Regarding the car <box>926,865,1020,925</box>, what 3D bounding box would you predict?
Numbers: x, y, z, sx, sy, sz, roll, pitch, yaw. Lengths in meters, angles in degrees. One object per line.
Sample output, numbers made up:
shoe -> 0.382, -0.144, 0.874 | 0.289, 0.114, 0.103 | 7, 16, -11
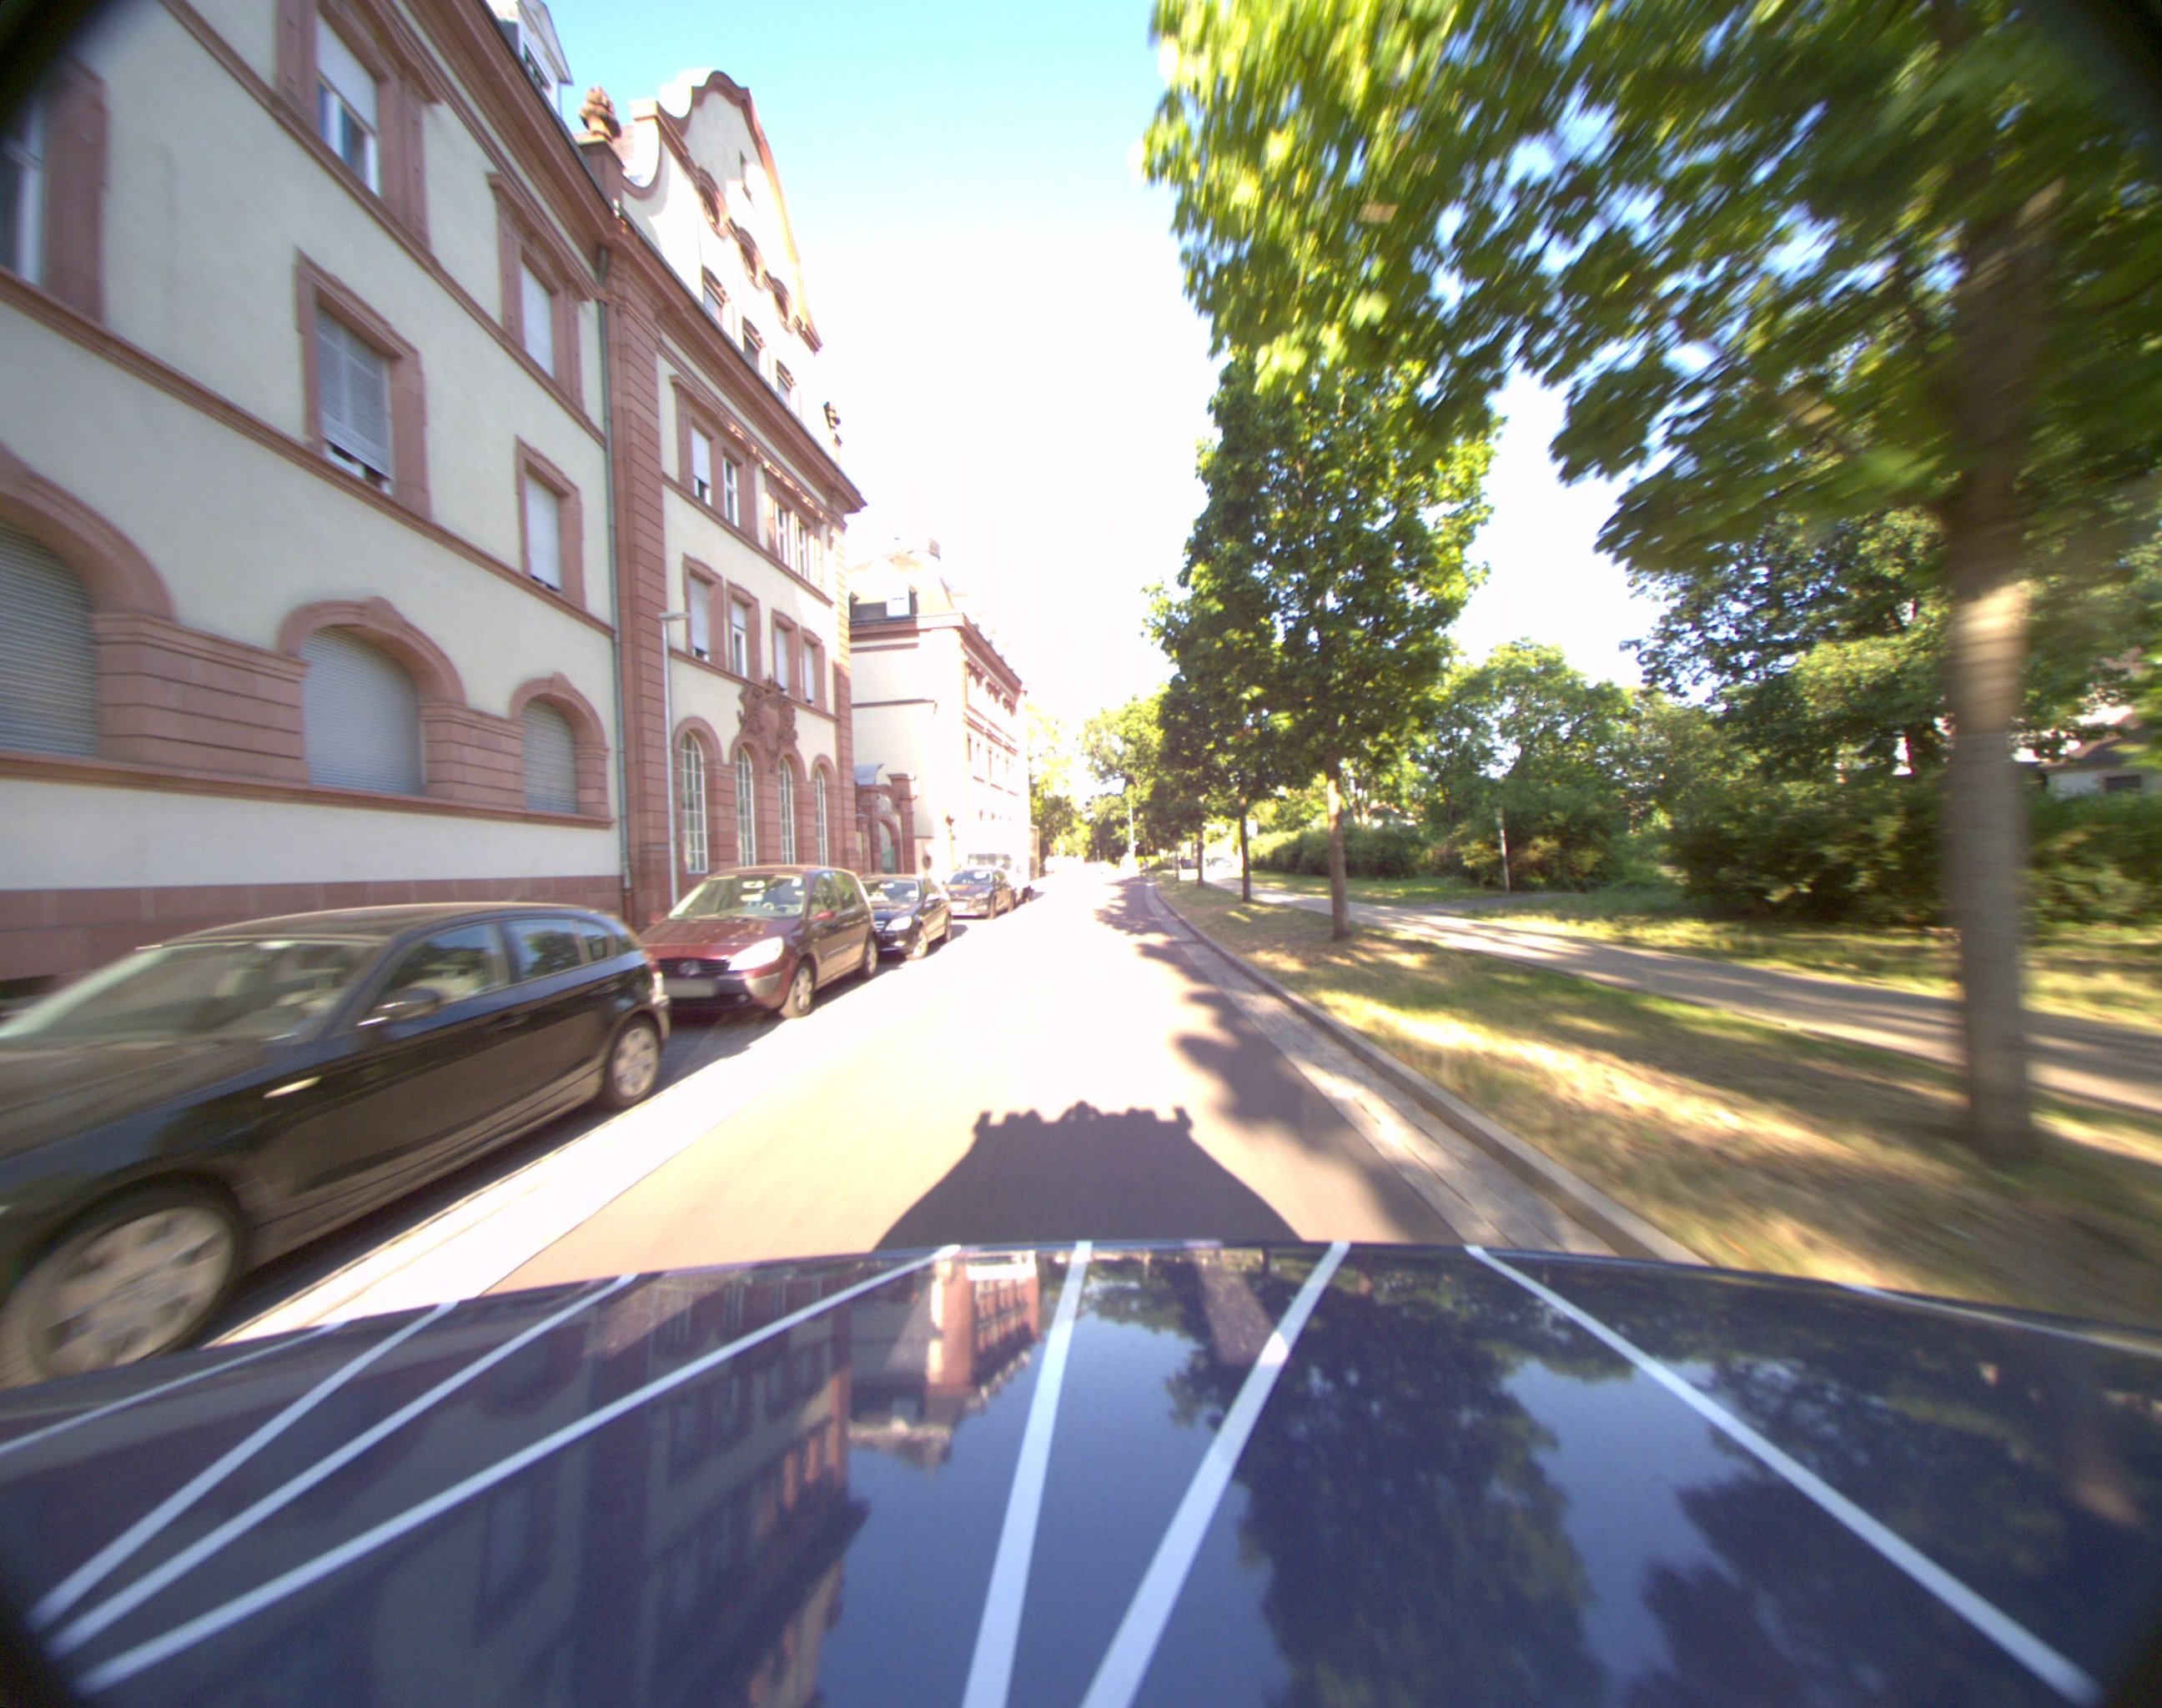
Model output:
car -> -3.163, 1.167, 23.195 | 1.772, 1.521, 4.574 | -2, 0, 5

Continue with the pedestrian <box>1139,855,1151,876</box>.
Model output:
pedestrian -> 5.249, 0.954, 62.360 | 0.534, 1.708, 1.002 | -3, 0, -12

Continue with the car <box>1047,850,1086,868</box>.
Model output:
car -> -2.345, 0.822, 124.826 | 5.913, 2.684, 2.218 | -2, 0, -14

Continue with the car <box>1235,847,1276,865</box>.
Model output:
car -> 20.505, 0.277, 89.247 | 4.239, 1.905, 1.761 | -2, -1, -12

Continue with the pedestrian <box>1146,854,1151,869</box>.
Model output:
pedestrian -> 8.221, 0.918, 92.113 | 0.435, 1.764, 0.666 | -2, 0, -7

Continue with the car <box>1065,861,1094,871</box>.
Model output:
car -> -0.247, 1.760, 112.862 | 4.061, 1.411, 1.716 | -2, 0, -14

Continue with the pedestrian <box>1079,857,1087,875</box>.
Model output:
pedestrian -> 0.207, 1.230, 79.073 | 0.717, 1.828, 0.790 | -2, -2, -10

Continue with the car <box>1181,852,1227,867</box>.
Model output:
car -> 14.233, 0.682, 87.755 | 4.839, 1.549, 1.866 | -2, -1, -12

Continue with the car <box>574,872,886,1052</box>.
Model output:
car -> -3.792, 1.052, 9.142 | 1.820, 1.592, 4.192 | 0, 0, -1

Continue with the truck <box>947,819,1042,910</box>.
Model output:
truck -> -3.103, 0.387, 28.938 | 2.629, 3.102, 6.089 | 0, 0, 3

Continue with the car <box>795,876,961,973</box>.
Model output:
car -> -3.569, 1.180, 14.286 | 1.876, 1.428, 4.523 | 0, 0, 0

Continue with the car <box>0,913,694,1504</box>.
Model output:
car -> -3.838, 1.147, 3.673 | 1.683, 1.394, 4.200 | -1, 0, 1

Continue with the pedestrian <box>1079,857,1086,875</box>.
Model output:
pedestrian -> 0.149, 1.257, 79.816 | 0.613, 1.828, 0.726 | -2, -2, -10

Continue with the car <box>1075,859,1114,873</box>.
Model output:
car -> 1.575, 1.432, 90.279 | 4.347, 1.525, 1.782 | -2, -2, -13
